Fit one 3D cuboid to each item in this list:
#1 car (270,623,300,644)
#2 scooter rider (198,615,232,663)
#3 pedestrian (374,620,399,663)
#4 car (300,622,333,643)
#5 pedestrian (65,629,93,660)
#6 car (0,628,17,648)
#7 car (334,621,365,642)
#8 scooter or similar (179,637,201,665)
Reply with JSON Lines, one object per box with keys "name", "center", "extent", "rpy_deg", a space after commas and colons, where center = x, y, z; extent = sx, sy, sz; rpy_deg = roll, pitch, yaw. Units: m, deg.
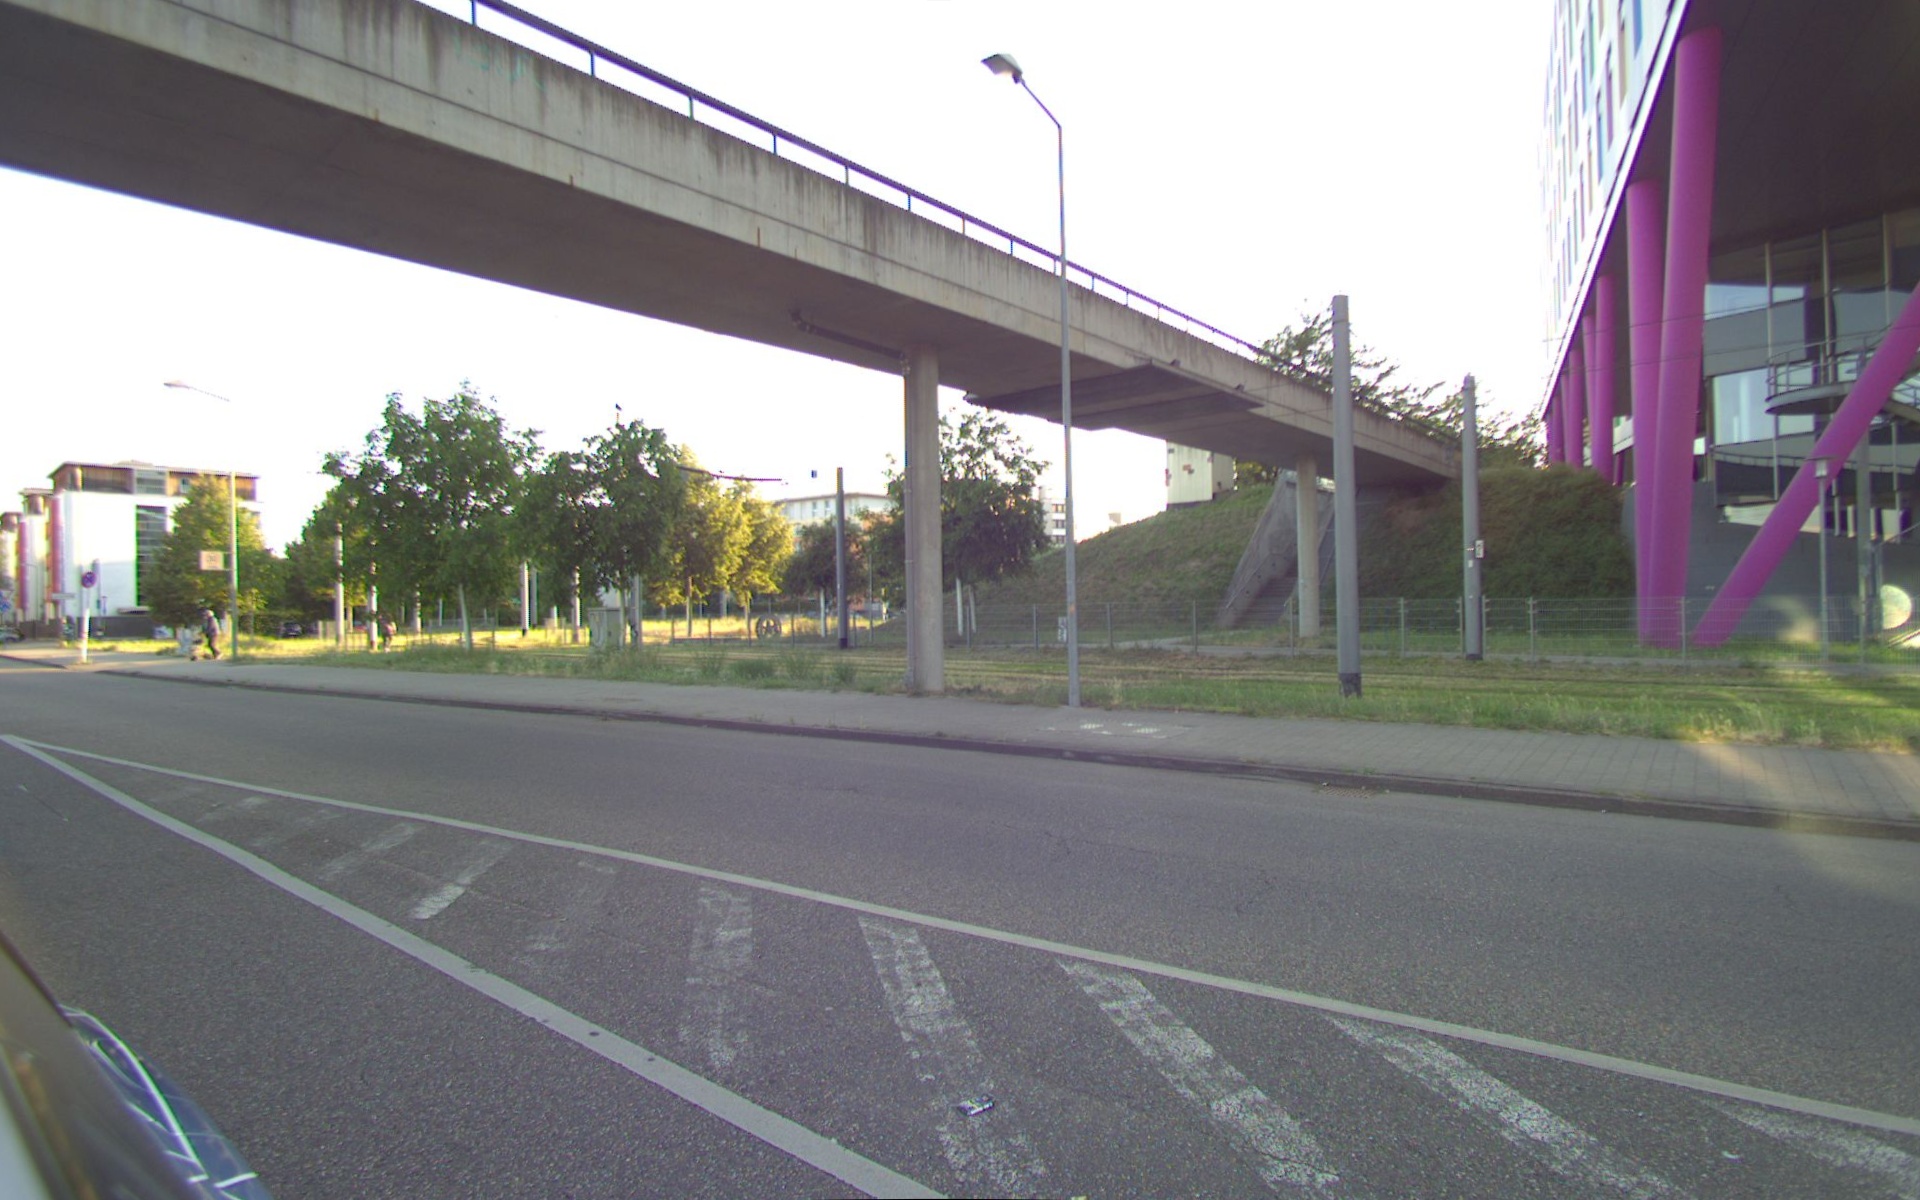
{"name": "car", "center": [-57.082, 2.808, 85.555], "extent": [1.842, 1.734, 3.853], "rpy_deg": [-1, -1, -38]}
{"name": "scooter rider", "center": [-25.472, 1.327, 34.601], "extent": [0.884, 1.589, 0.713], "rpy_deg": [-1, -1, -40]}
{"name": "pedestrian", "center": [-22.025, 1.575, 38.864], "extent": [0.767, 1.623, 0.417], "rpy_deg": [-1, -1, -38]}
{"name": "car", "center": [-55.369, 2.779, 87.060], "extent": [1.843, 1.734, 3.851], "rpy_deg": [-1, -1, -40]}
{"name": "pedestrian", "center": [-58.888, 2.947, 67.673], "extent": [1.072, 2.029, 1.143], "rpy_deg": [-1, 0, -20]}
{"name": "car", "center": [-80.757, 3.167, 83.415], "extent": [1.839, 1.571, 4.330], "rpy_deg": [-1, 0, 42]}
{"name": "car", "center": [-53.569, 2.755, 88.784], "extent": [1.842, 1.734, 3.853], "rpy_deg": [-1, -1, -38]}
{"name": "scooter or similar", "center": [-25.983, 1.709, 34.145], "extent": [0.544, 0.902, 0.724], "rpy_deg": [1, -1, -40]}
